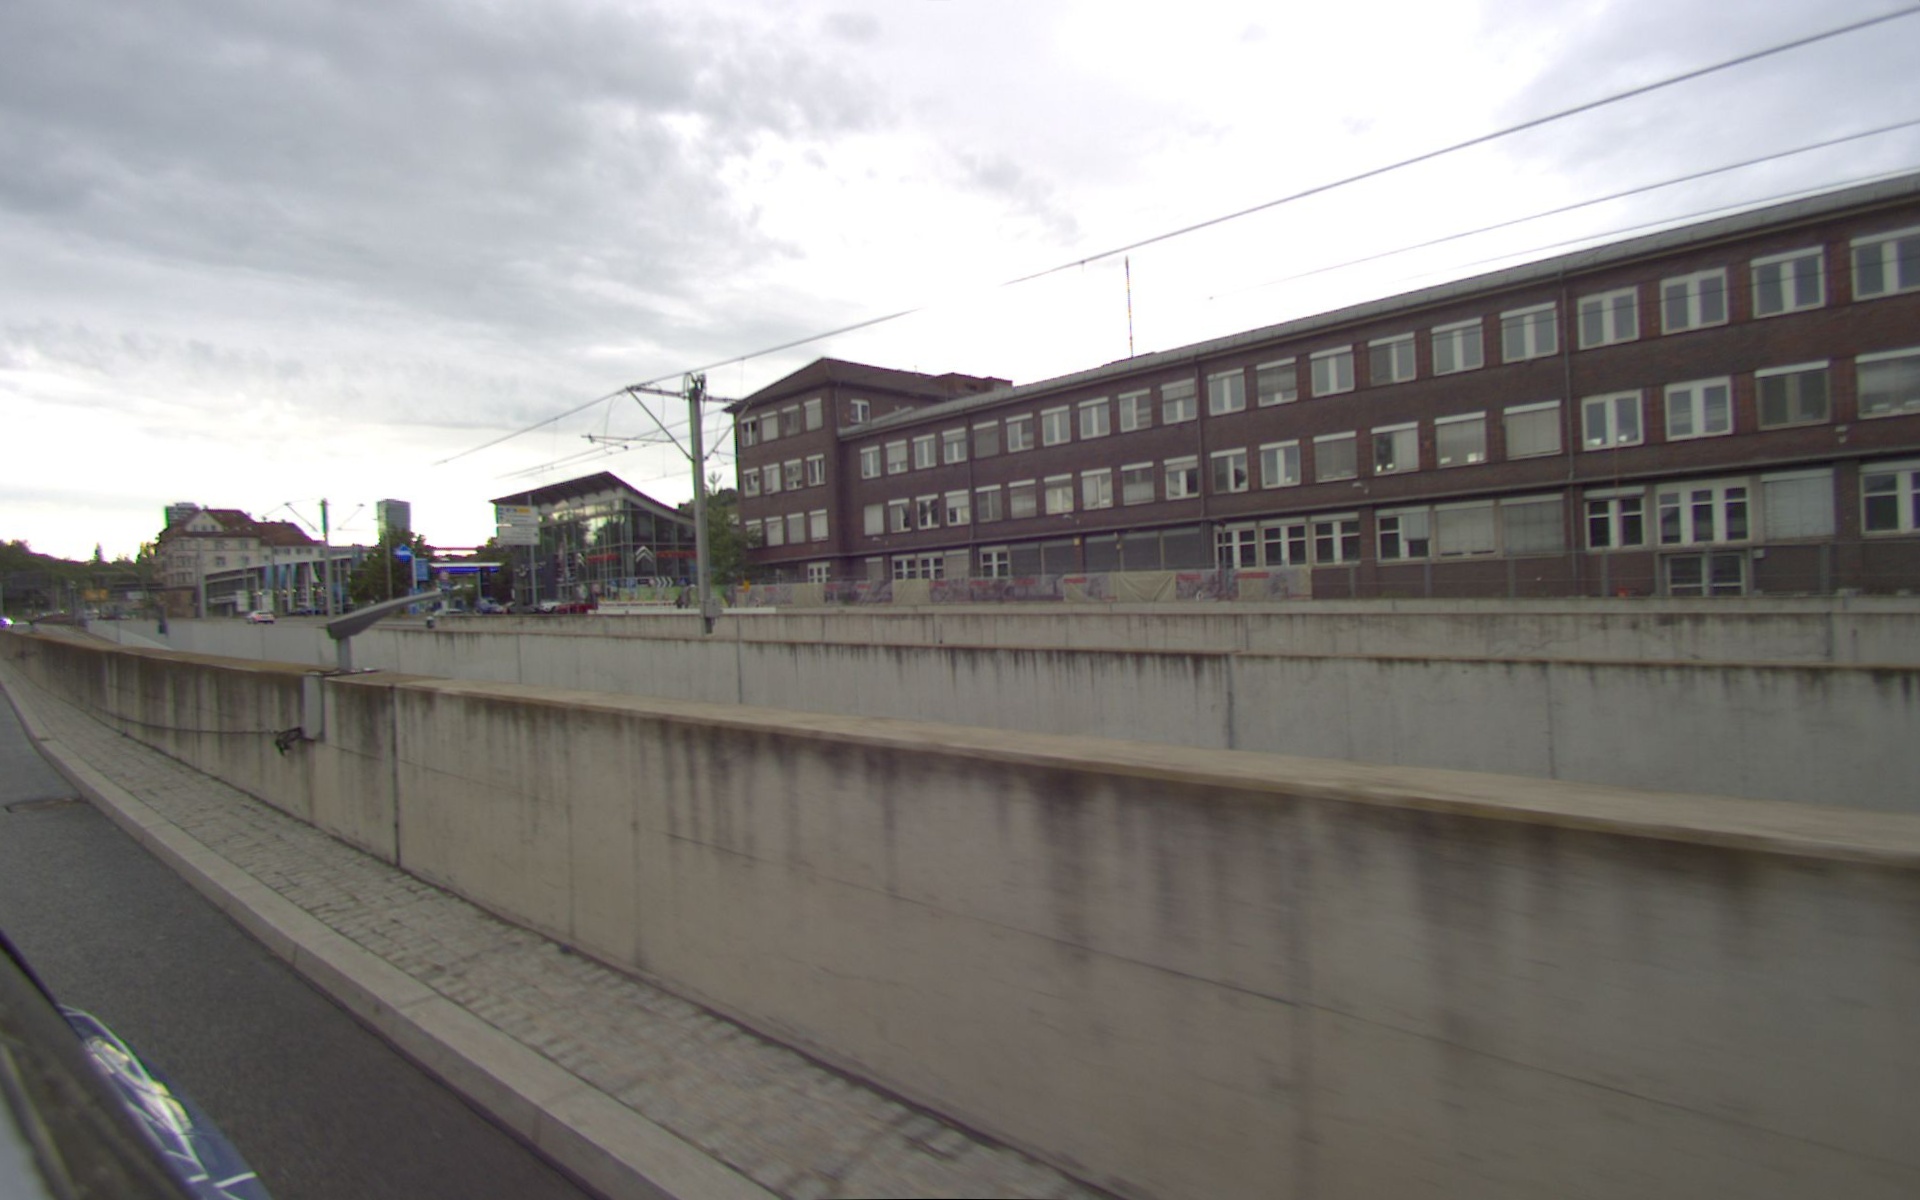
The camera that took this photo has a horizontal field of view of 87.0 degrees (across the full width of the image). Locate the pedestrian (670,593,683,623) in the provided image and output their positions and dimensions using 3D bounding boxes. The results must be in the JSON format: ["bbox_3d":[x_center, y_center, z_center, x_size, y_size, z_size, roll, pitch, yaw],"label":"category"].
[{"bbox_3d":[-19.633,0.549,70.106,0.721,2.029,0.579,-1,0,7],"label":"pedestrian"}]

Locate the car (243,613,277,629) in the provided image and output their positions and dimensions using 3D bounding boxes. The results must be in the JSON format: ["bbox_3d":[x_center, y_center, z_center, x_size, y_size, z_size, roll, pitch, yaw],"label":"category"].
[{"bbox_3d":[-77.661,2.353,112.280,4.579,1.729,2.091,-2,0,42],"label":"car"}]

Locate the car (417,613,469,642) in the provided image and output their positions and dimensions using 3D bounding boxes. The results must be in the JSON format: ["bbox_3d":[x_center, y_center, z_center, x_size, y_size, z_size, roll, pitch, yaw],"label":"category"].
[{"bbox_3d":[-37.133,1.974,72.679,3.998,2.029,1.973,-2,-1,41],"label":"car"}]

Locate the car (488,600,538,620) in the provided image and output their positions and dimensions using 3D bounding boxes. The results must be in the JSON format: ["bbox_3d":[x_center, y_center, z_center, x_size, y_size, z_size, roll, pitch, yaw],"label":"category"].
[{"bbox_3d":[-43.172,0.922,97.822,2.001,1.785,3.942,-2,0,44],"label":"car"}]

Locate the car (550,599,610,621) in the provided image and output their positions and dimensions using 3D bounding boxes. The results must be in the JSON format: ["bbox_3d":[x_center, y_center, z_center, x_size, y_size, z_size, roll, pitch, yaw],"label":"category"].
[{"bbox_3d":[-33.439,0.901,89.229,2.001,1.773,4.514,-2,0,44],"label":"car"}]

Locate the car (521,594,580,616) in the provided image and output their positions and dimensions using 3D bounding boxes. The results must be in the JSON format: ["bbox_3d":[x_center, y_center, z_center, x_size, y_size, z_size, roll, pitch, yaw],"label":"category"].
[{"bbox_3d":[-37.415,0.460,92.569,2.001,1.773,4.514,-2,0,44],"label":"car"}]

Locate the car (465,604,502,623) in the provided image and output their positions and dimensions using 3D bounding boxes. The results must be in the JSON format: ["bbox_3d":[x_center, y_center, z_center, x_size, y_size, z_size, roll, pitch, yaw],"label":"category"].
[{"bbox_3d":[-47.300,1.303,100.498,4.000,1.785,1.972,-2,0,43],"label":"car"}]

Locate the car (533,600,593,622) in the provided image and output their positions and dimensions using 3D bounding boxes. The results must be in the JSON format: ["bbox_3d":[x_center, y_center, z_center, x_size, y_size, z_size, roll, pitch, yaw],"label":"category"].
[{"bbox_3d":[-35.543,0.947,90.718,2.001,1.773,4.514,-2,0,44],"label":"car"}]
